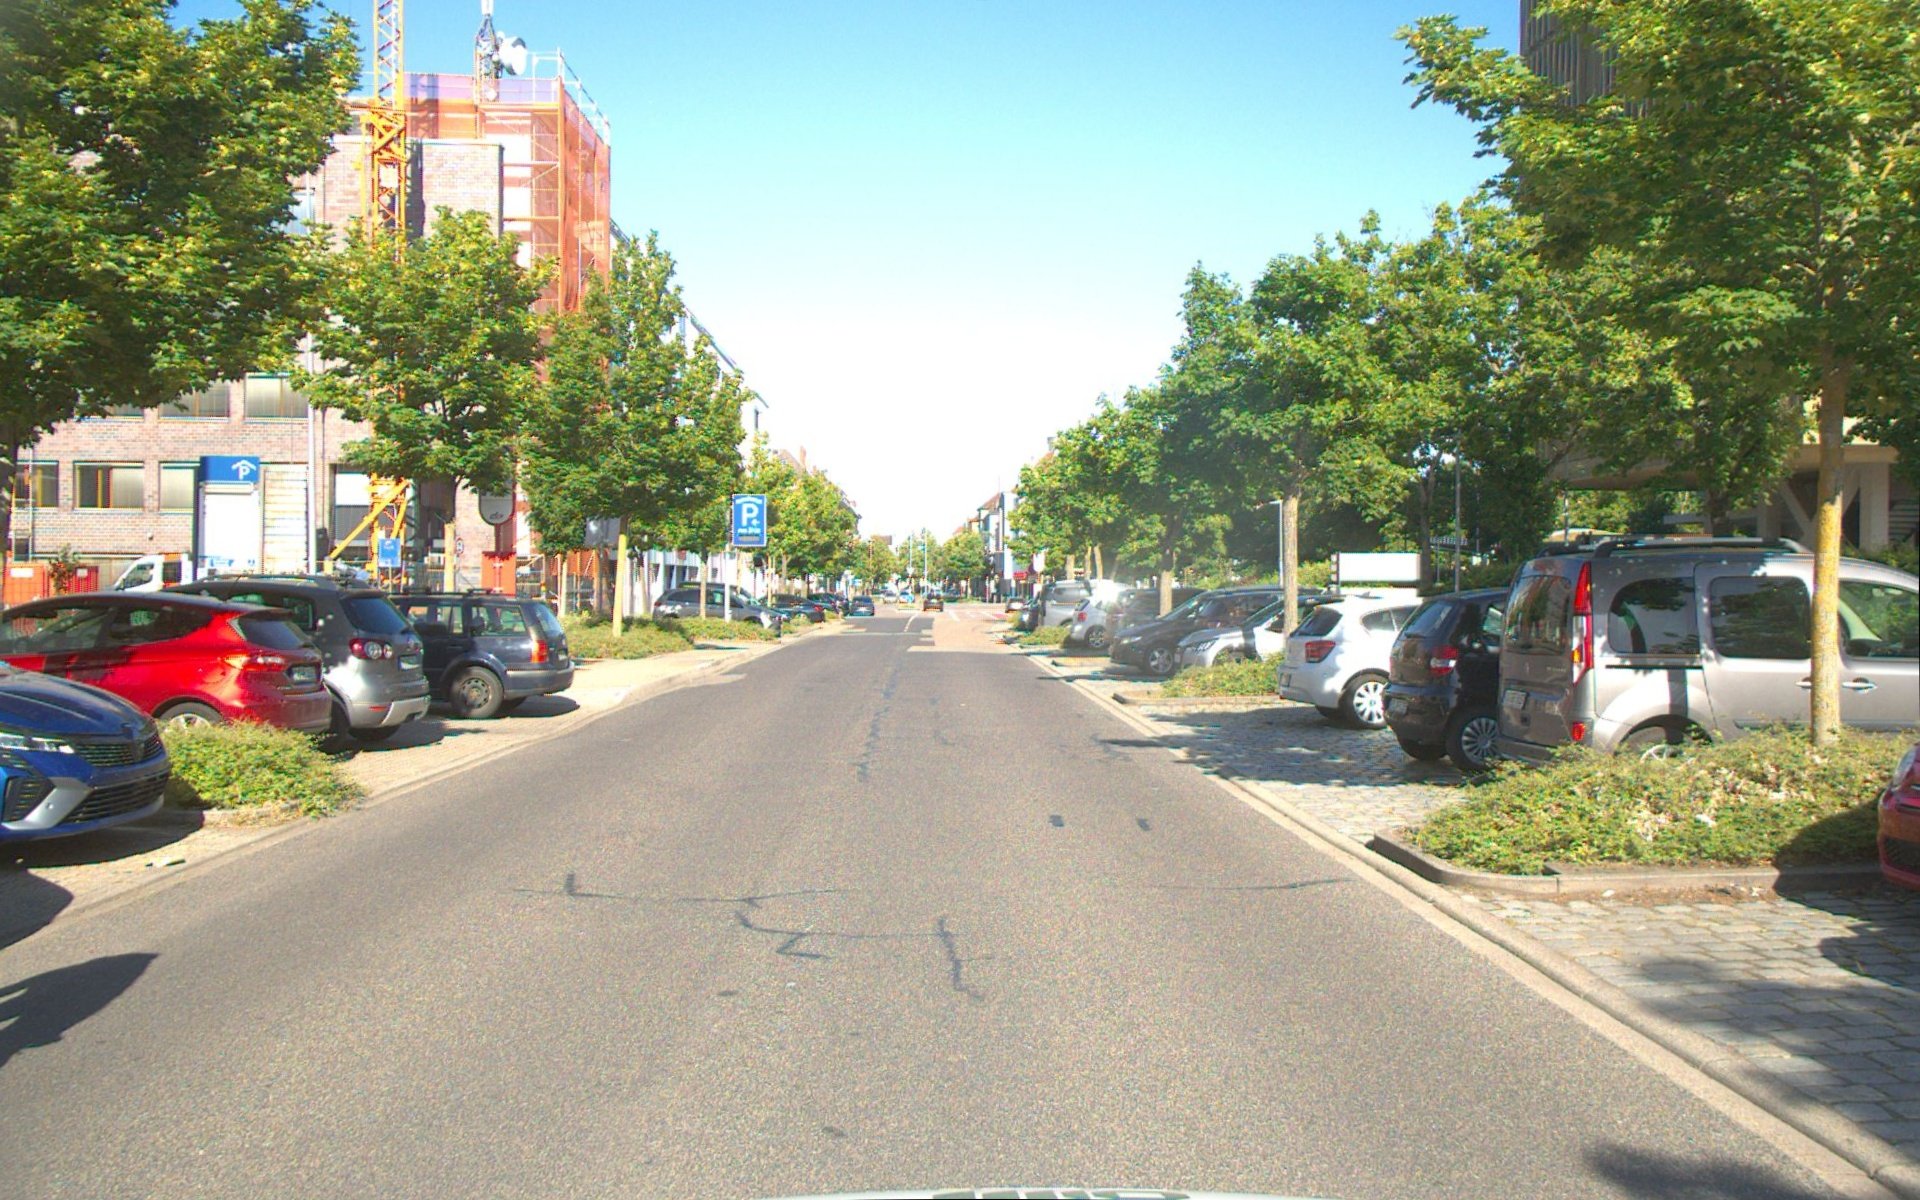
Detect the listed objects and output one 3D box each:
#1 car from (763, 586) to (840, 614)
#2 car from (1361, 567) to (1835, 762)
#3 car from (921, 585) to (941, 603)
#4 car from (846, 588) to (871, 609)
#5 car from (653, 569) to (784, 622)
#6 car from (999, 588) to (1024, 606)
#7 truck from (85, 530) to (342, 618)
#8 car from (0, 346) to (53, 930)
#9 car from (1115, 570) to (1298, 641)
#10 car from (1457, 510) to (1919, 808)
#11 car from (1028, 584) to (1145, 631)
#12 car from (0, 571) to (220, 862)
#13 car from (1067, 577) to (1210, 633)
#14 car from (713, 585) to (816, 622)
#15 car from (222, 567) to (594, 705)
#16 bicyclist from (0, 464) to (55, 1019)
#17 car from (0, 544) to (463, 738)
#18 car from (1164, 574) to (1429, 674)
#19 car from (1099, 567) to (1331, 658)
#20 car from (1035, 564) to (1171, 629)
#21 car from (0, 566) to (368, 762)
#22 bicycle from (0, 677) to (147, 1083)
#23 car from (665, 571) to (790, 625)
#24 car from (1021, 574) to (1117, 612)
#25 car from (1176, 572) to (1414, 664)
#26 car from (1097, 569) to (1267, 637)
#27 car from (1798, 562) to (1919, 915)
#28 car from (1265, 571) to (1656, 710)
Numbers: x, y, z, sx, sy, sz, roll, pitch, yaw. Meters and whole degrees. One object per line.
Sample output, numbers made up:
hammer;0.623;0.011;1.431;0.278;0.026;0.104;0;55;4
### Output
car;-9.084;-0.010;95.059;4.244;1.500;1.817;0;1;-2
car;5.527;0.517;14.620;3.534;1.576;1.706;0;2;-3
car;-2.604;-0.571;149.557;1.775;1.500;4.111;0;1;0
car;-7.530;-0.136;122.695;1.775;1.500;4.109;0;1;-2
car;-8.061;-0.164;55.386;4.176;1.694;1.599;0;1;-2
car;4.751;-0.282;153.614;1.950;1.500;4.108;0;1;-3
truck;-22.538;-0.790;50.132;6.717;2.591;2.280;0;1;0
car;-6.747;0.095;6.289;5.437;2.452;1.988;2;1;0
car;5.613;0.130;37.997;3.906;1.565;1.861;0;0;-1
car;5.937;0.350;12.021;4.036;1.961;1.978;0;2;-3
car;4.194;0.232;55.198;3.831;1.500;1.796;0;1;3
car;-6.608;0.562;9.519;3.852;1.511;1.785;1;0;0
car;4.871;0.136;45.473;3.690;1.485;1.817;0;0;-2
car;-8.233;0.131;70.112;4.246;1.500;1.816;0;1;-5
car;-6.818;0.419;20.799;4.049;1.518;1.868;2;1;-4
bicyclist;-3.139;0.417;4.522;0.669;1.608;1.061;-1;0;3
car;-7.177;0.375;16.338;3.904;1.693;1.828;2;0;2
car;5.272;0.351;26.195;3.822;1.512;1.742;0;1;-2
car;4.752;0.209;31.197;4.061;1.607;1.740;-1;1;-3
car;4.249;-0.120;49.413;3.906;1.912;1.682;0;1;-1
car;-7.284;0.498;13.960;3.905;1.544;1.855;0;0;-1
bicycle;-3.139;0.839;4.519;0.683;1.130;2.080;-1;0;3
car;-8.393;-0.091;60.005;4.242;1.894;1.818;0;1;0
car;4.369;-0.275;66.534;3.831;1.500;1.758;0;-1;3
car;5.804;0.290;28.904;3.785;1.531;1.651;0;1;-4
car;5.408;0.072;40.661;3.906;1.609;2.031;0;0;-1
car;5.854;0.595;7.578;3.302;1.556;1.597;-1;0;-10
car;5.692;0.447;19.154;3.978;1.450;1.742;-1;0;0
